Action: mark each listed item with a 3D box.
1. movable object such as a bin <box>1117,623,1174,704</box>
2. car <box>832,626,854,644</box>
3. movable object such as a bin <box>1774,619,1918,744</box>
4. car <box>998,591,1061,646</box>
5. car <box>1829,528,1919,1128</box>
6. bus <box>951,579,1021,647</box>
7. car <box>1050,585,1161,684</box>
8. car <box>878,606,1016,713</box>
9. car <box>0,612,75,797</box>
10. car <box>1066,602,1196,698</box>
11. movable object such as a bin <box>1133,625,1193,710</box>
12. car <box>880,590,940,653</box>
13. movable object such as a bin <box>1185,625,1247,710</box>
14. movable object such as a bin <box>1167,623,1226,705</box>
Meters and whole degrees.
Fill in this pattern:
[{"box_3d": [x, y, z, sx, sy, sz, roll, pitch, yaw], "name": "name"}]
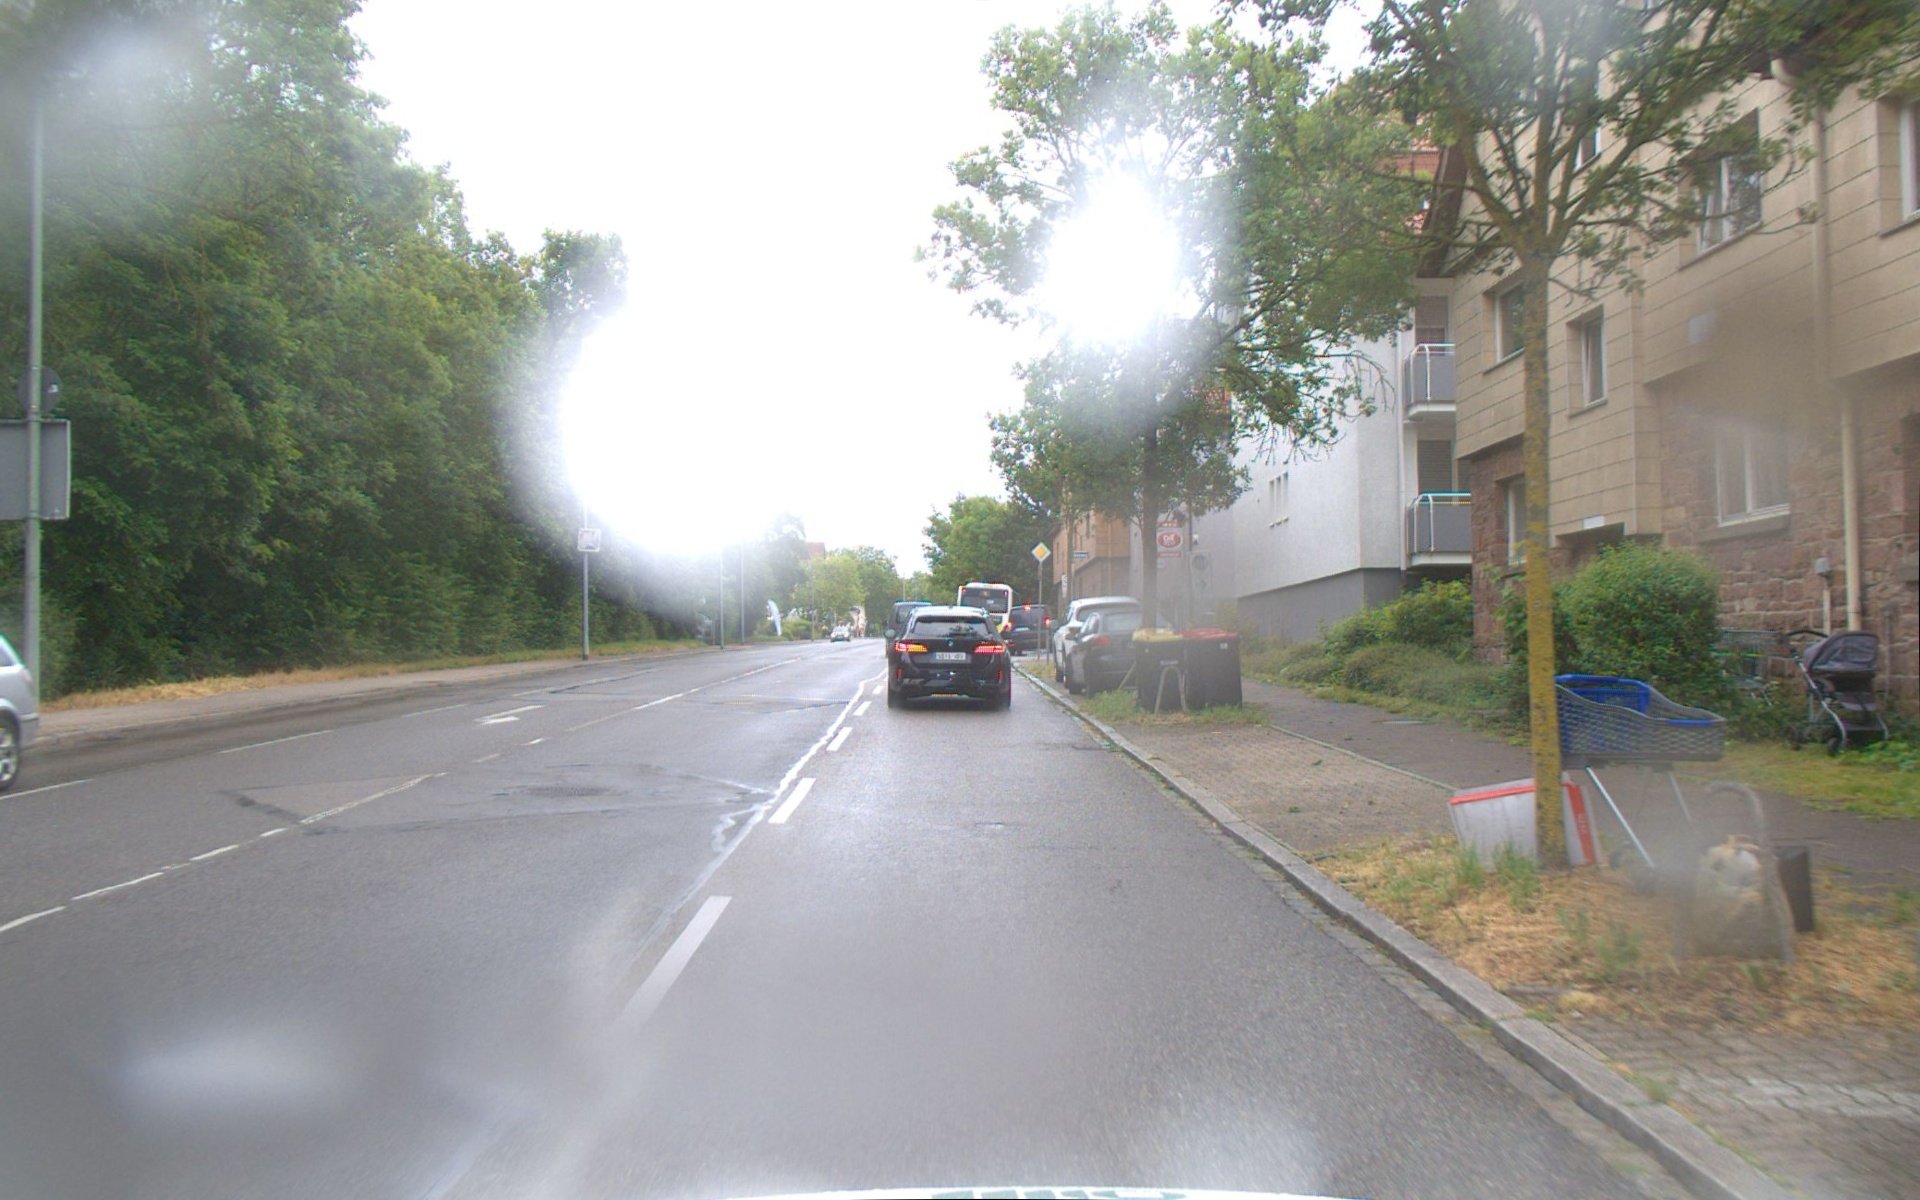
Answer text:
[{"box_3d": [2.588, 0.880, 23.147, 0.607, 1.068, 0.822, -3, 0, -4], "name": "movable object such as a bin"}, {"box_3d": [-10.961, 3.285, 155.006, 1.734, 1.560, 3.999, -2, 0, -1], "name": "car"}, {"box_3d": [7.394, 0.663, 13.839, 0.686, 0.982, 0.941, 1, 1, -1], "name": "movable object such as a bin"}, {"box_3d": [2.757, 0.722, 64.728, 1.886, 1.925, 4.764, -4, -1, 7], "name": "car"}, {"box_3d": [3.363, 0.588, 2.405, 1.667, 1.611, 4.643, -4, 1, 0], "name": "car"}, {"box_3d": [1.288, 0.556, 76.230, 2.568, 2.897, 8.293, -2, 0, 5], "name": "bus"}, {"box_3d": [2.859, 0.646, 33.337, 1.787, 1.803, 4.540, -2, 0, 0], "name": "car"}, {"box_3d": [-0.258, 0.871, 25.930, 1.953, 1.478, 3.998, 2, 0, -2], "name": "car"}, {"box_3d": [-8.712, 0.898, 12.478, 1.655, 1.508, 4.451, -3, 0, -1], "name": "car"}, {"box_3d": [2.818, 0.804, 28.027, 1.608, 1.474, 3.996, -1, 0, -2], "name": "car"}, {"box_3d": [2.725, 0.893, 22.252, 0.607, 1.068, 0.822, -3, 0, -4], "name": "movable object such as a bin"}, {"box_3d": [-1.651, 0.719, 55.937, 1.953, 2.049, 3.999, 0, 0, -1], "name": "car"}, {"box_3d": [3.442, 0.901, 22.249, 0.607, 1.068, 0.822, -3, 0, -4], "name": "movable object such as a bin"}, {"box_3d": [3.311, 0.888, 23.169, 0.607, 1.068, 0.822, -3, 0, -4], "name": "movable object such as a bin"}]
